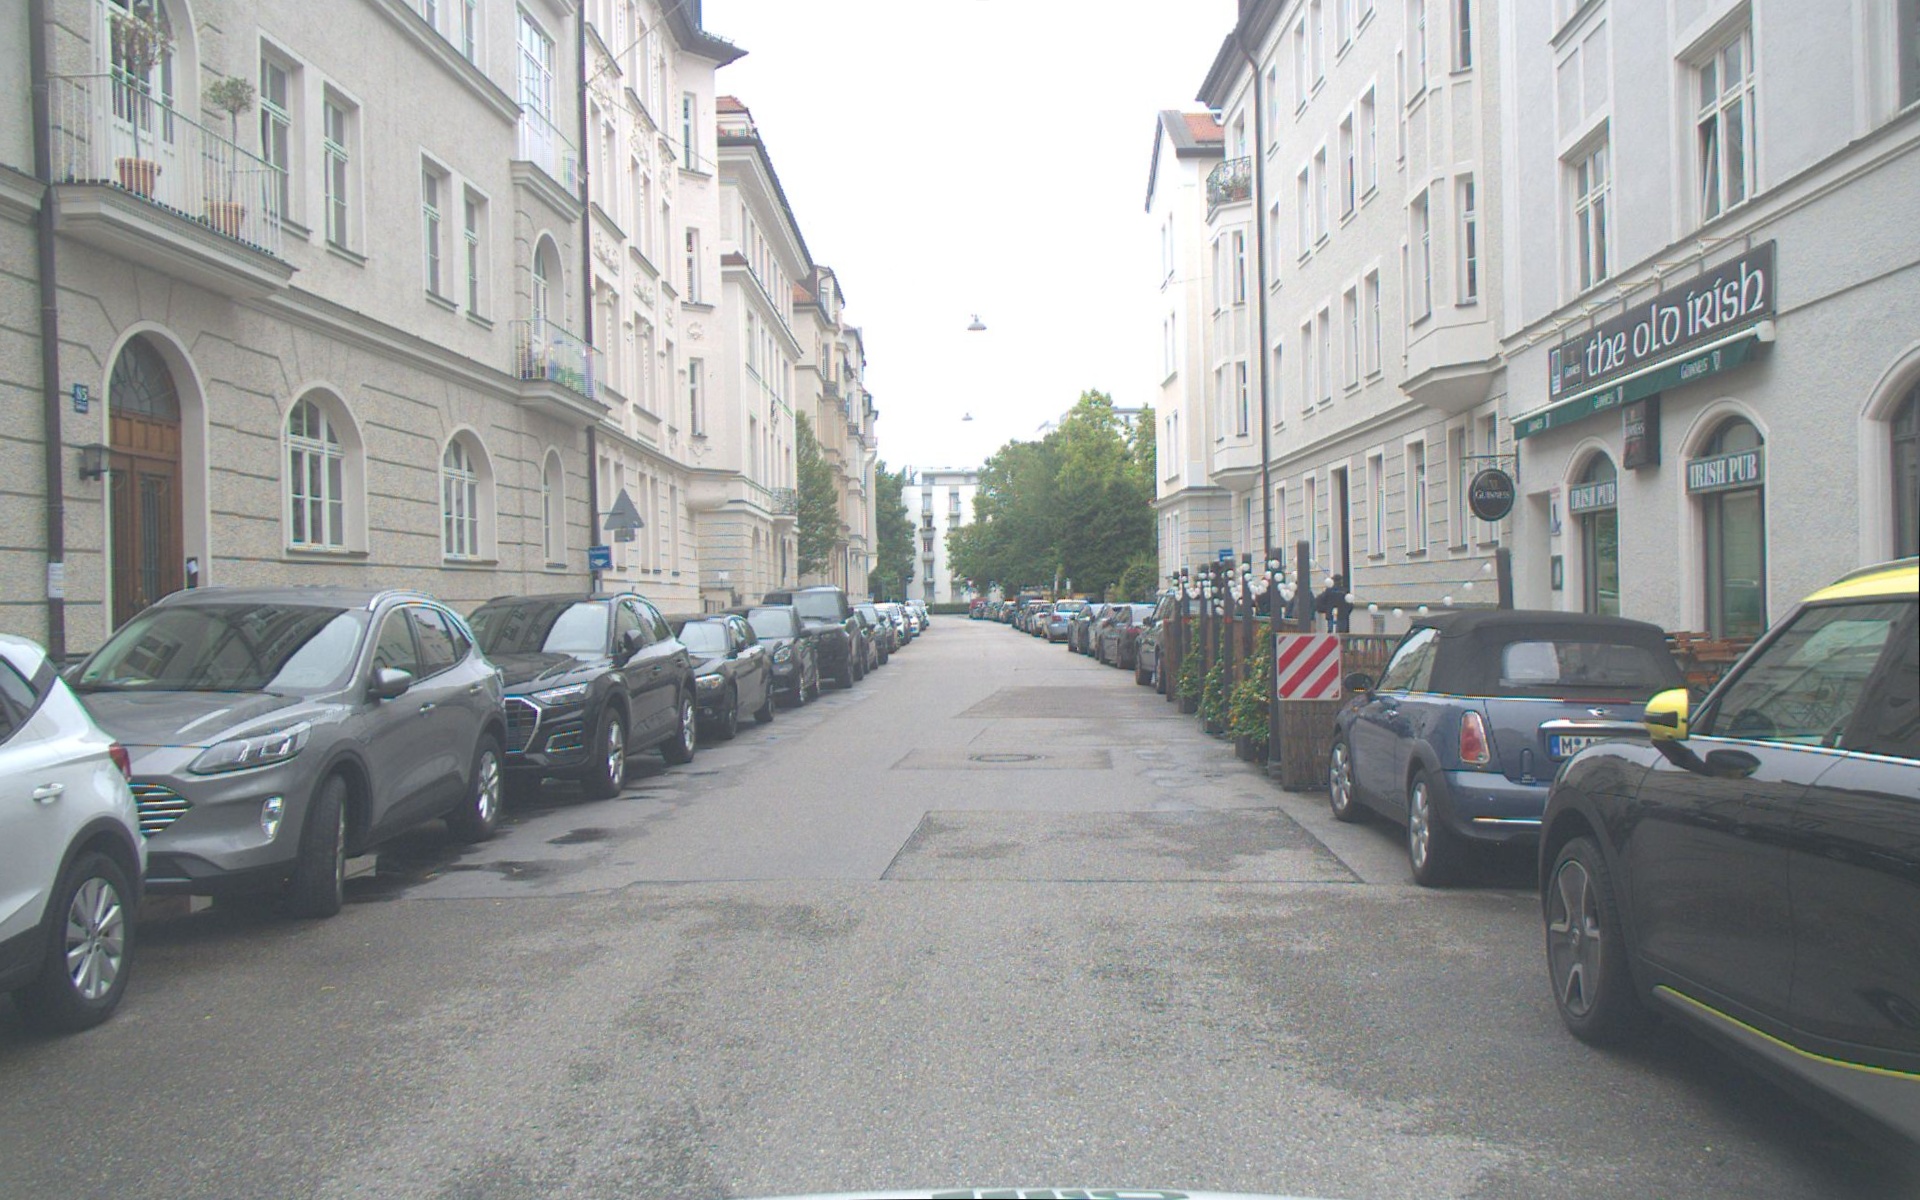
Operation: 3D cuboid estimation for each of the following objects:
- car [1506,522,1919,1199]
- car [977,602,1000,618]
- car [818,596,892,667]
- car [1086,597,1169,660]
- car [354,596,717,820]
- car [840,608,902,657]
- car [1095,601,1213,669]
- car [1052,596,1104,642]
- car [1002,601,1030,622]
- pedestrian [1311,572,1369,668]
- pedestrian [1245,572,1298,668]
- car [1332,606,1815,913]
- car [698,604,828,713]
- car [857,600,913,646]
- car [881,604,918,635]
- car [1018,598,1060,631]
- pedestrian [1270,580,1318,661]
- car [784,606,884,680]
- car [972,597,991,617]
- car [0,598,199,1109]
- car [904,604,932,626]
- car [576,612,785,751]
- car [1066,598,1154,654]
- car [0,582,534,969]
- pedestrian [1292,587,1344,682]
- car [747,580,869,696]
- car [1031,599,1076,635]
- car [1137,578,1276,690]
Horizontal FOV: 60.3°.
[{"bbox_3d":[3.018,0.665,4.509,1.798,1.647,4.095,1,0,2],"label":"car"},{"bbox_3d":[2.684,0.953,157.166,1.802,1.545,3.944,0,-1,-4],"label":"car"},{"bbox_3d":[-2.707,0.792,43.339,1.692,1.647,4.120,-4,0,-2],"label":"car"},{"bbox_3d":[4.348,0.696,43.429,1.724,1.511,4.420,1,0,0],"label":"car"},{"bbox_3d":[-3.522,0.807,14.648,1.837,1.627,4.435,-1,0,3],"label":"car"},{"bbox_3d":[-2.896,1.046,54.610,1.756,1.439,4.278,-4,0,0],"label":"car"},{"bbox_3d":[4.345,0.749,37.775,1.800,1.424,4.970,0,0,-4],"label":"car"},{"bbox_3d":[4.429,0.686,62.528,1.784,1.596,4.401,1,0,2],"label":"car"},{"bbox_3d":[4.007,0.846,118.342,1.801,1.438,4.342,0,-1,0],"label":"car"},{"bbox_3d":[7.389,0.376,32.202,0.865,1.818,1.111,-1,0,3],"label":"pedestrian"},{"bbox_3d":[6.118,0.385,32.558,0.864,1.843,1.112,-1,0,4],"label":"pedestrian"},{"bbox_3d":[3.371,0.778,9.783,1.632,1.425,3.493,1,0,2],"label":"car"},{"bbox_3d":[-3.063,0.871,26.286,1.583,1.539,3.531,-3,0,0],"label":"car"},{"bbox_3d":[-2.895,0.862,64.651,1.876,1.647,4.571,-1,0,0],"label":"car"},{"bbox_3d":[-3.109,0.975,85.170,1.799,1.459,4.243,-3,0,-2],"label":"car"},{"bbox_3d":[4.061,0.740,85.787,1.715,1.639,4.421,0,0,-4],"label":"car"},{"bbox_3d":[7.816,0.476,38.745,0.865,1.845,1.111,-1,0,1],"label":"pedestrian"},{"bbox_3d":[-2.781,0.931,37.378,1.799,1.418,4.245,-3,0,1],"label":"car"},{"bbox_3d":[2.191,0.652,167.973,1.798,1.960,4.005,1,0,2],"label":"car"},{"bbox_3d":[-3.823,0.808,4.664,1.660,1.595,3.949,-1,-1,-3],"label":"car"},{"bbox_3d":[-3.075,1.076,120.843,1.799,1.462,4.275,-4,0,0],"label":"car"},{"bbox_3d":[-3.310,0.918,20.322,1.620,1.431,4.093,-3,0,3],"label":"car"},{"bbox_3d":[4.327,0.726,48.384,1.953,1.483,4.710,-2,0,-2],"label":"car"},{"bbox_3d":[-3.919,0.785,9.548,1.799,1.707,4.212,-1,0,0],"label":"car"},{"bbox_3d":[7.877,0.743,36.412,0.865,2.049,1.111,-1,0,1],"label":"pedestrian"},{"bbox_3d":[-2.806,0.648,31.426,1.799,1.927,4.763,-3,0,0],"label":"car"},{"bbox_3d":[4.115,0.739,73.463,1.748,1.531,4.064,-1,0,0],"label":"car"},{"bbox_3d":[4.073,0.517,27.911,1.763,1.704,4.190,-1,0,1],"label":"car"}]
